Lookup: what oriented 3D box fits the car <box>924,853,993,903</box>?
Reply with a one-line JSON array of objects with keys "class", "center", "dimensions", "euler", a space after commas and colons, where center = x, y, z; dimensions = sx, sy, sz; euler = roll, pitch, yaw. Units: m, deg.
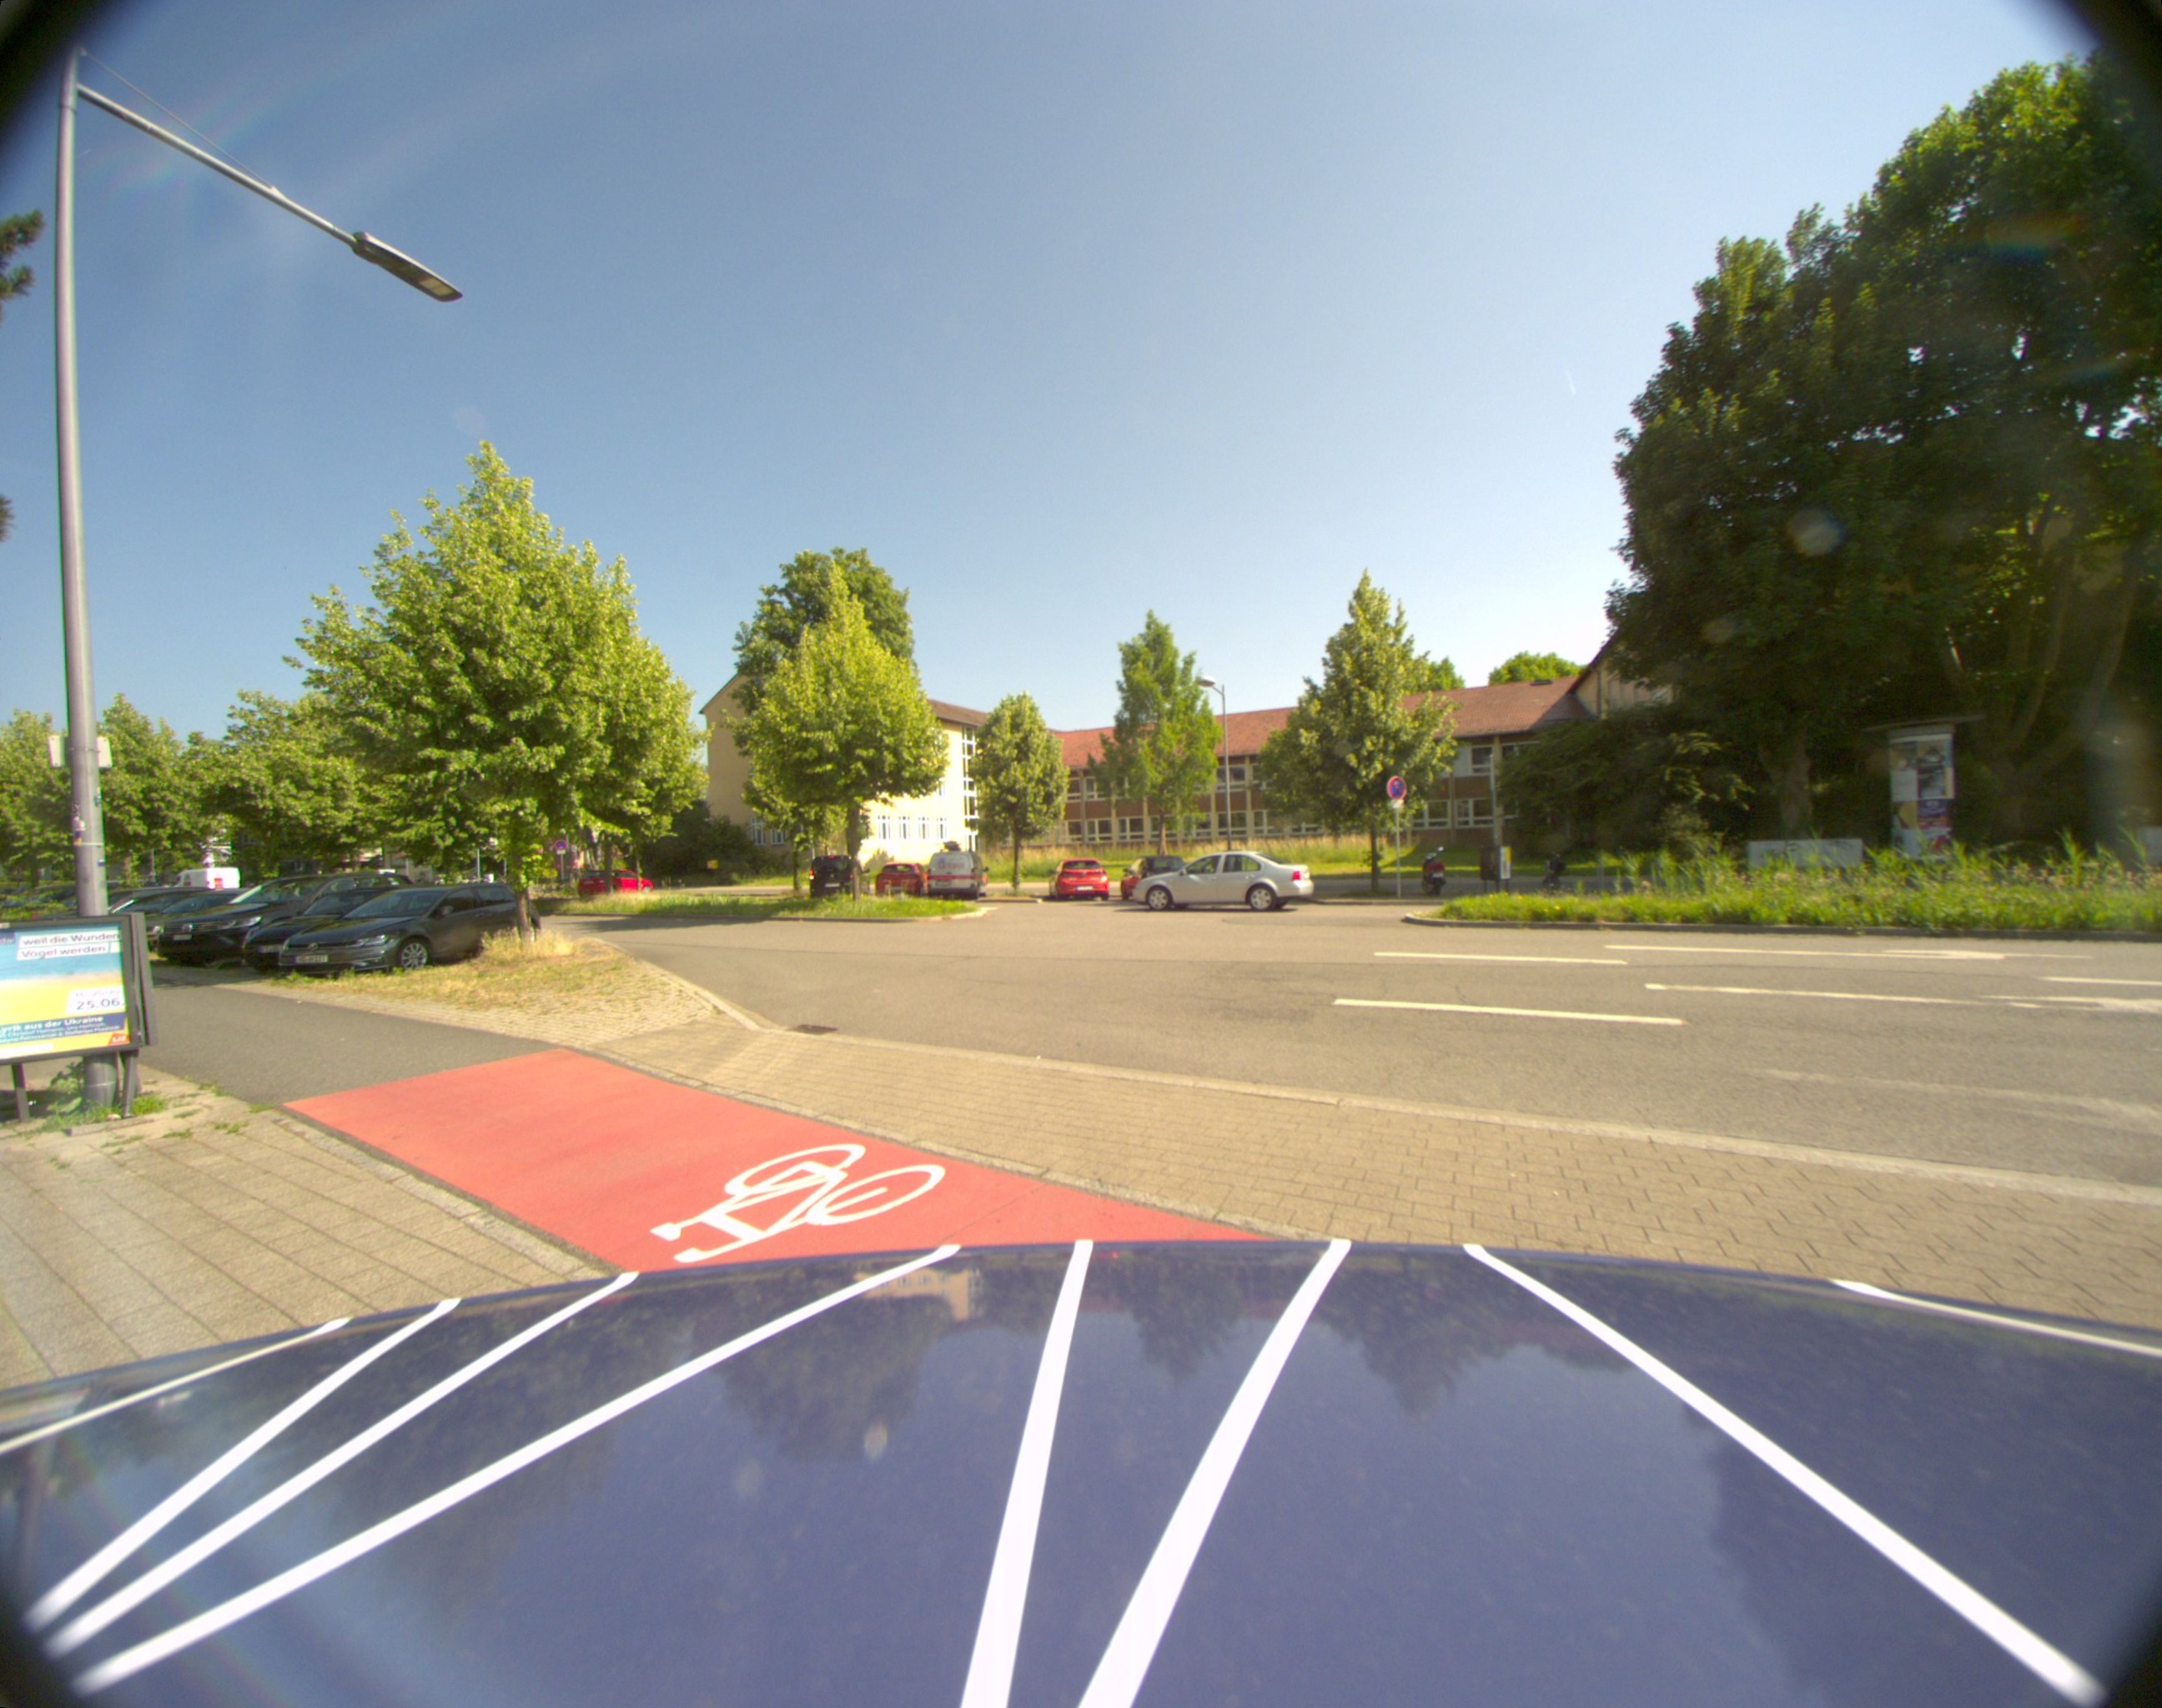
[{"class": "car", "center": [-4.504, 0.849, 28.534], "dimensions": [1.880, 1.712, 4.226], "euler": [-1, -1, 0]}]

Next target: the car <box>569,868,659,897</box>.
[{"class": "car", "center": [-23.716, 1.410, 38.780], "dimensions": [1.878, 1.382, 3.730], "euler": [-1, -1, 10]}]

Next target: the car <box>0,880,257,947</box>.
[{"class": "car", "center": [-26.873, 1.616, 21.661], "dimensions": [1.702, 1.473, 4.229], "euler": [-2, 1, 13]}]

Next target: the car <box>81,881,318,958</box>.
[{"class": "car", "center": [-21.831, 1.529, 19.121], "dimensions": [1.705, 1.473, 4.220], "euler": [-2, 1, -14]}]

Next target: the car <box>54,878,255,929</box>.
[{"class": "car", "center": [-33.143, 1.708, 27.359], "dimensions": [1.701, 1.473, 4.232], "euler": [-2, 1, 24]}]

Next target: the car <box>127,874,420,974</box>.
[{"class": "car", "center": [-16.858, 1.348, 16.280], "dimensions": [1.704, 1.710, 4.402], "euler": [-1, 0, -3]}]

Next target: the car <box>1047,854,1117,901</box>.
[{"class": "car", "center": [-0.066, 0.768, 26.205], "dimensions": [1.881, 1.451, 4.223], "euler": [-1, -1, -7]}]

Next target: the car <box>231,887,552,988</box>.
[{"class": "car", "center": [-12.095, 1.381, 13.819], "dimensions": [1.880, 1.408, 4.227], "euler": [-1, -1, 2]}]

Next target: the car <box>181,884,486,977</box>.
[{"class": "car", "center": [-14.722, 1.419, 15.387], "dimensions": [1.880, 1.472, 4.227], "euler": [-1, -1, 2]}]

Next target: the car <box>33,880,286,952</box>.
[{"class": "car", "center": [-24.335, 1.571, 20.363], "dimensions": [1.704, 1.473, 4.224], "euler": [-2, 1, -4]}]

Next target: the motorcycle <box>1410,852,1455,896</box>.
[{"class": "motorcycle", "center": [9.550, 0.524, 20.699], "dimensions": [0.557, 1.108, 1.759], "euler": [-2, 1, 5]}]

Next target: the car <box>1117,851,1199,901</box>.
[{"class": "car", "center": [2.414, 0.691, 24.932], "dimensions": [1.741, 1.451, 4.224], "euler": [-2, -1, -7]}]

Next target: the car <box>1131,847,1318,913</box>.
[{"class": "car", "center": [3.515, 0.627, 18.687], "dimensions": [4.149, 1.475, 1.743], "euler": [-2, 0, 28]}]

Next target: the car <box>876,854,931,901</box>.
[{"class": "car", "center": [-6.892, 0.900, 29.911], "dimensions": [1.882, 1.712, 4.222], "euler": [-1, -1, -10]}]

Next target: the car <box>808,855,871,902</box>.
[{"class": "car", "center": [-9.590, 0.942, 30.472], "dimensions": [1.882, 1.712, 4.222], "euler": [-1, -1, -10]}]

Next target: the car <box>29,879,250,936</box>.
[{"class": "car", "center": [-30.936, 1.696, 25.149], "dimensions": [1.701, 1.473, 4.232], "euler": [-2, 1, 24]}]
